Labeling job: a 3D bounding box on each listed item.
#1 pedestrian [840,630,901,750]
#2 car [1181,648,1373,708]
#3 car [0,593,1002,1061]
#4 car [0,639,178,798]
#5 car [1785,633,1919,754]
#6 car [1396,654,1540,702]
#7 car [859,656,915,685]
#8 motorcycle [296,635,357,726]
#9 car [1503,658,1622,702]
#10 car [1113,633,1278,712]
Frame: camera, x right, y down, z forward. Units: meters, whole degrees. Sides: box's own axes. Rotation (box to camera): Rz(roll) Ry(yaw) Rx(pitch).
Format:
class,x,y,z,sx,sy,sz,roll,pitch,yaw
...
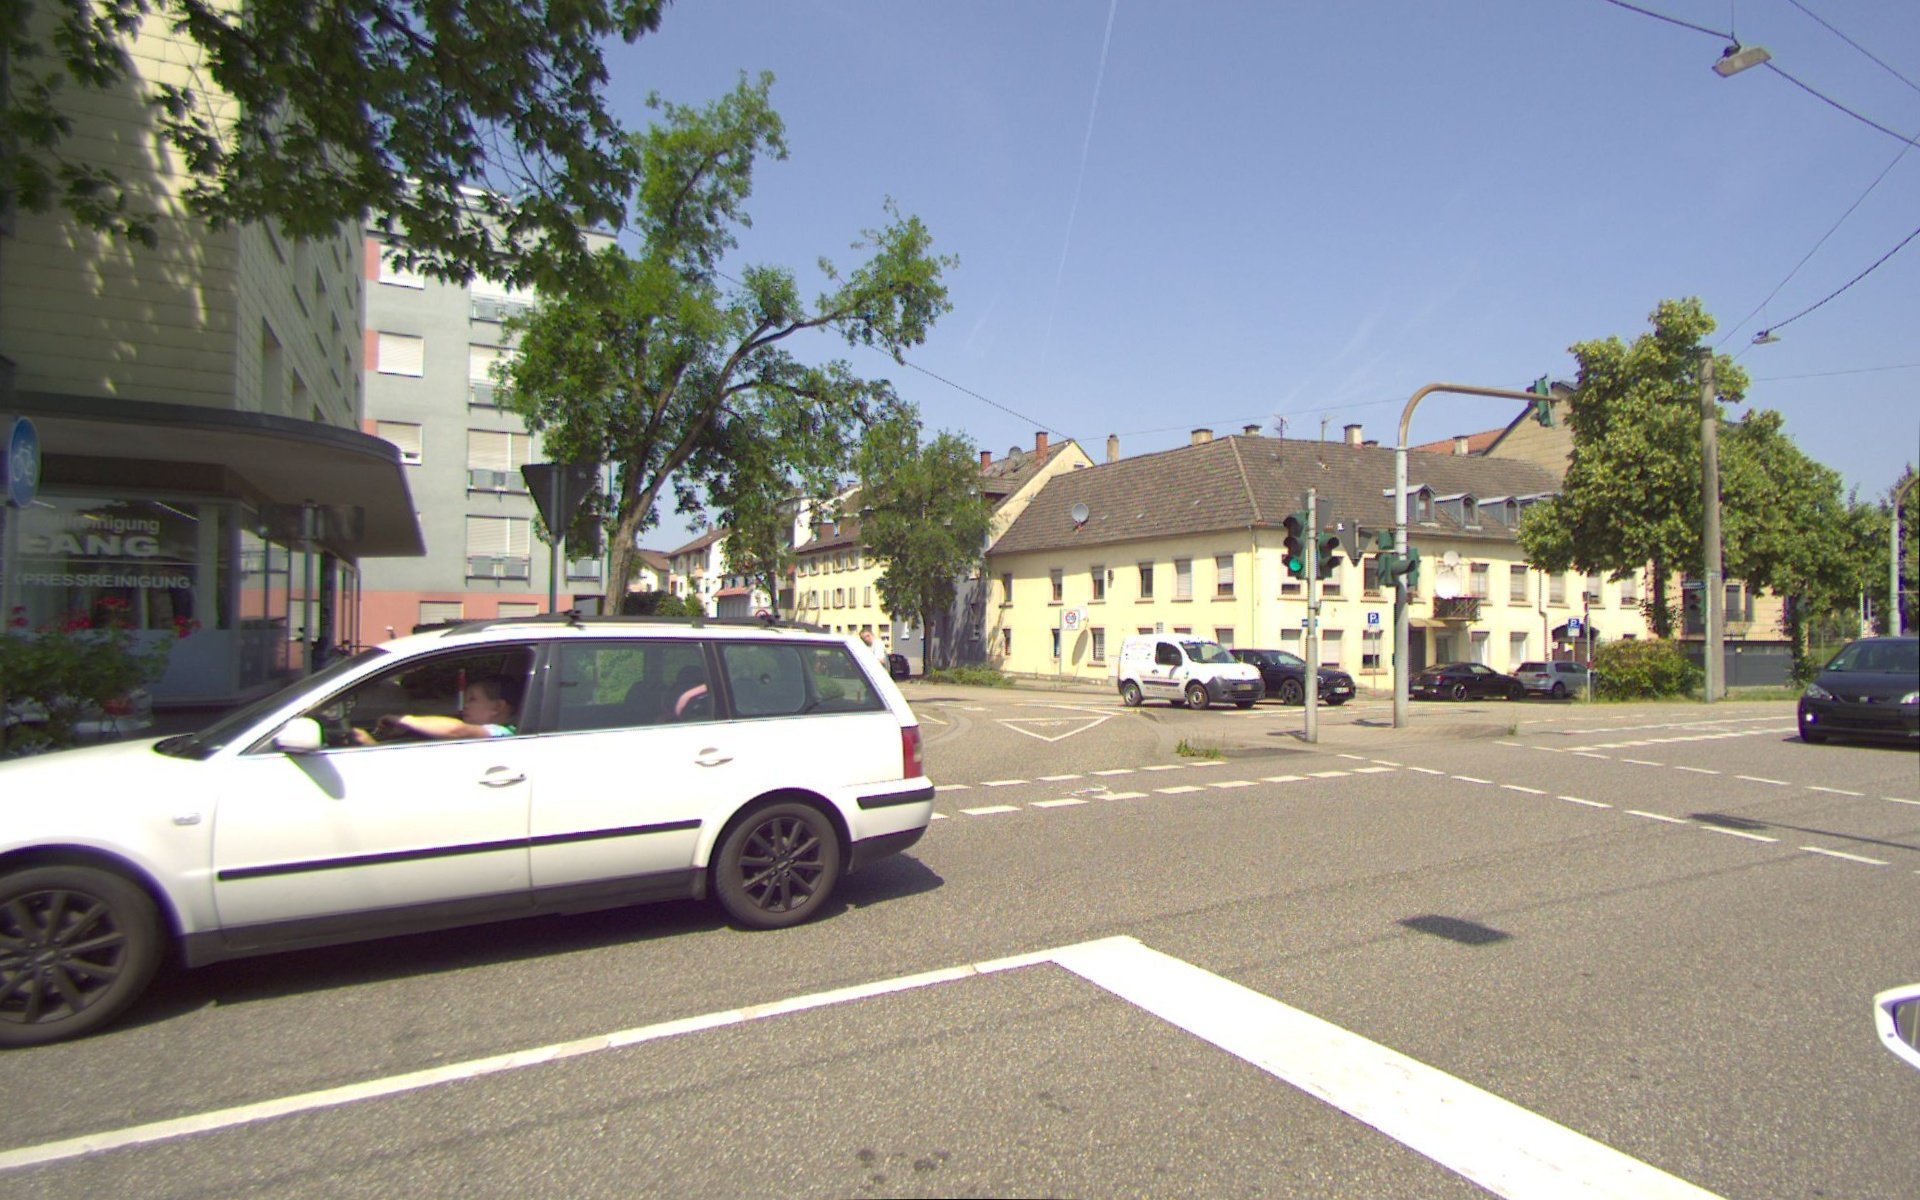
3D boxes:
class,x,y,z,sx,sy,sz,roll,pitch,yaw
pedestrian,-1.370,1.348,15.349,0.734,1.783,0.624,1,-2,-30
car,8.284,2.044,26.664,2.094,1.419,4.580,1,-4,-33
car,-2.192,0.812,4.955,4.577,1.538,1.807,1,-3,-31
car,-10.181,1.128,9.722,3.893,1.478,1.575,1,-2,-30
car,13.181,1.207,13.891,3.667,1.475,1.608,1,-1,-31
car,18.818,2.855,37.196,5.210,1.649,1.812,1,-4,-23
car,-4.351,4.142,59.378,1.787,1.425,3.970,1,0,-28
motorcycle,-10.876,1.346,17.292,0.705,1.439,1.906,3,-2,-28
car,23.511,3.080,39.189,4.365,1.451,1.772,0,0,-23
car,5.634,1.737,24.427,1.872,1.757,3.668,1,-4,-31
